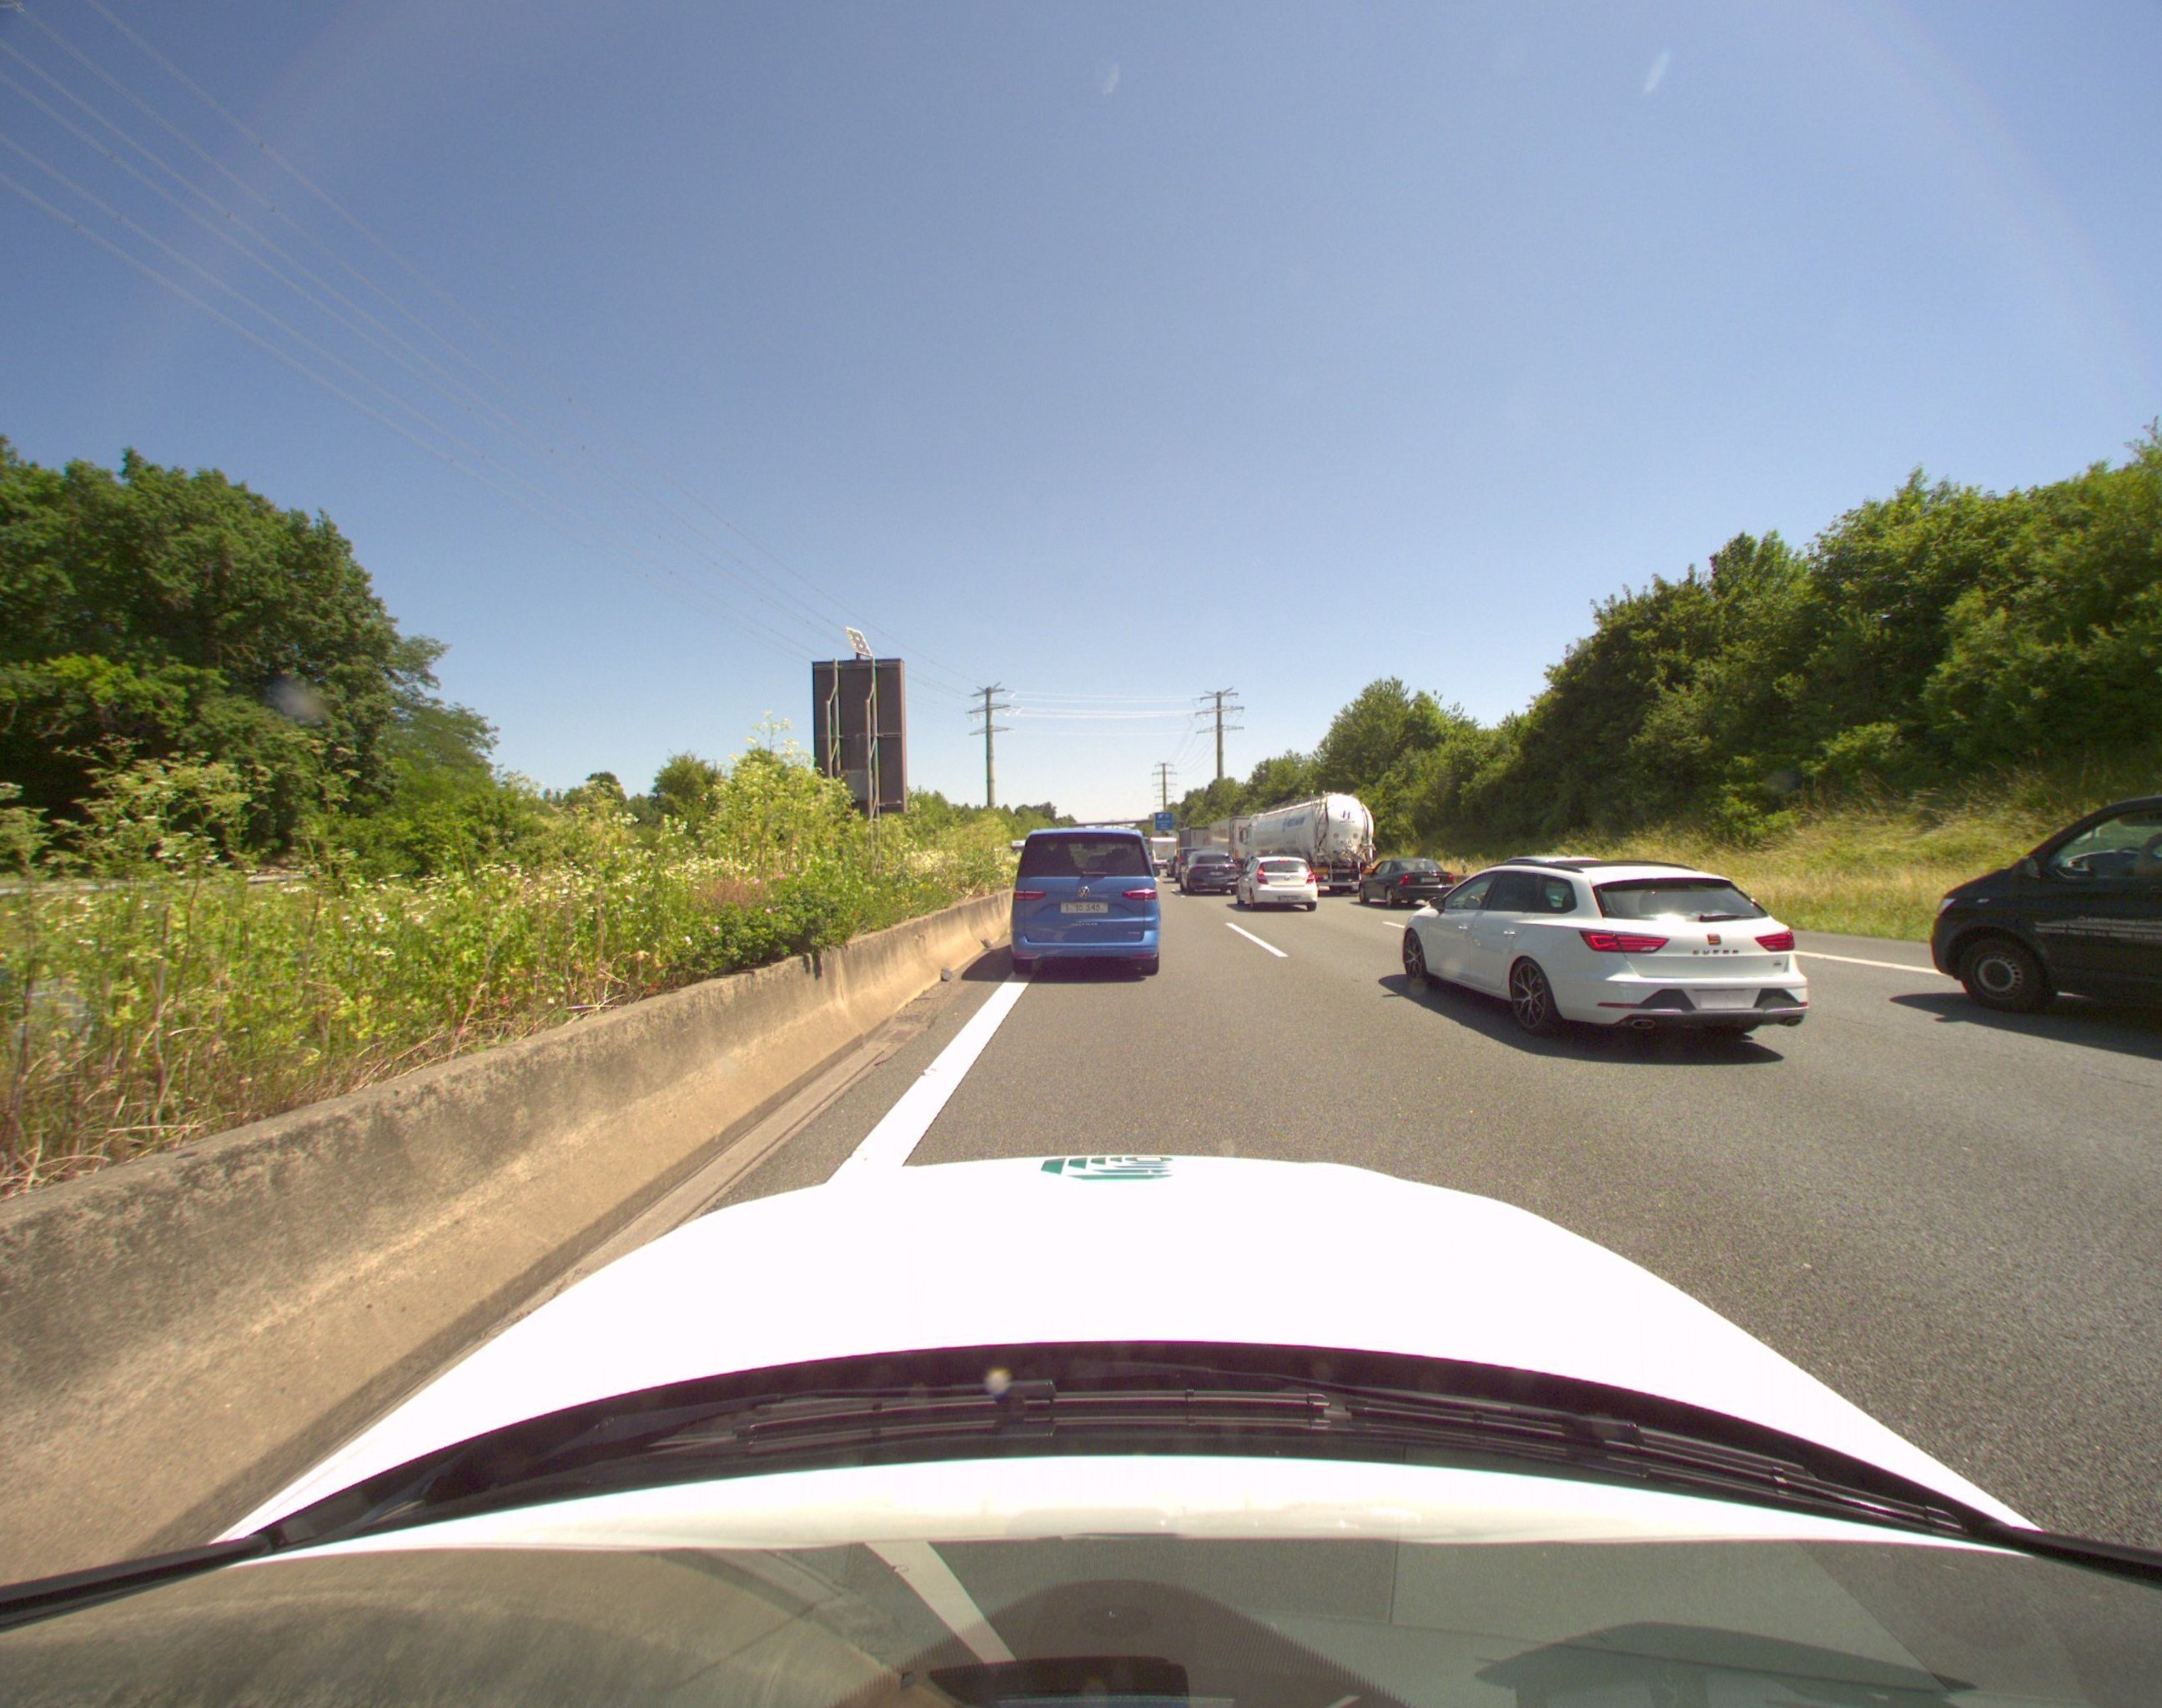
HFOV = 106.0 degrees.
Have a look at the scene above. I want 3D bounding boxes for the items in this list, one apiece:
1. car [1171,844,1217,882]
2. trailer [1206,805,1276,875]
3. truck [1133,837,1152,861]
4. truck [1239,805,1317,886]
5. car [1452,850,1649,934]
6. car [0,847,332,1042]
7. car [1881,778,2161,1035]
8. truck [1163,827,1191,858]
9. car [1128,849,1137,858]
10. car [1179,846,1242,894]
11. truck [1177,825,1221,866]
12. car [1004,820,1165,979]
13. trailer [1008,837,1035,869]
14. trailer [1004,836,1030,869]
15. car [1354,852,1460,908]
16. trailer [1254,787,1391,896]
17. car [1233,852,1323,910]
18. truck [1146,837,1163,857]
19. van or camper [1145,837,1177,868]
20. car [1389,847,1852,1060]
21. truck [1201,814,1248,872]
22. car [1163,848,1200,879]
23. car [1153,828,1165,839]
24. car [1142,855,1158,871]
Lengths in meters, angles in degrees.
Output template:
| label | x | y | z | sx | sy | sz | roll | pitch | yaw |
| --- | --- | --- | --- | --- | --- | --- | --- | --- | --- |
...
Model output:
| label | x | y | z | sx | sy | sz | roll | pitch | yaw |
| --- | --- | --- | --- | --- | --- | --- | --- | --- | --- |
| car | 6.249 | 0.531 | 45.445 | 1.917 | 1.925 | 4.235 | -2 | -1 | 1 |
| trailer | 11.339 | -0.877 | 59.050 | 2.901 | 4.469 | 12.158 | -2 | 0 | 2 |
| truck | 10.120 | -0.770 | 134.749 | 2.883 | 3.766 | 10.148 | -1 | -1 | 3 |
| truck | 10.096 | -0.383 | 42.264 | 2.782 | 3.836 | 5.574 | -2 | 0 | 2 |
| car | 9.180 | 0.661 | 16.354 | 1.724 | 1.443 | 4.030 | -2 | 0 | 2 |
| car | -10.498 | 0.820 | 8.276 | 1.986 | 1.717 | 4.001 | -1 | 0 | 2 |
| car | 9.081 | 0.368 | 5.900 | 1.906 | 1.940 | 4.859 | -2 | -1 | 3 |
| truck | 12.956 | -1.448 | 110.830 | 2.883 | 3.766 | 13.354 | -1 | -1 | 3 |
| car | 12.663 | -0.161 | 199.398 | 1.986 | 2.126 | 4.001 | -1 | -1 | 2 |
| car | 5.107 | 0.642 | 32.663 | 1.991 | 1.715 | 4.628 | -2 | -1 | 3 |
| truck | 12.054 | -0.704 | 84.688 | 2.993 | 3.766 | 15.724 | -1 | -1 | 3 |
| car | 0.121 | 0.543 | 11.674 | 1.912 | 1.886 | 4.002 | 0 | 0 | 2 |
| trailer | -9.805 | -0.081 | 136.173 | 3.309 | 5.047 | 9.597 | -1 | -1 | 3 |
| trailer | -10.128 | -0.154 | 129.137 | 3.309 | 5.047 | 6.707 | -1 | -1 | 2 |
| car | 9.396 | 0.730 | 23.798 | 1.634 | 1.416 | 3.991 | -2 | -1 | 3 |
| trailer | 9.887 | -0.422 | 35.000 | 2.751 | 3.845 | 11.490 | -2 | 0 | 2 |
| car | 5.552 | 0.749 | 23.447 | 1.809 | 1.485 | 4.003 | -2 | -1 | 3 |
| truck | 17.604 | -1.722 | 196.035 | 3.553 | 4.517 | 10.297 | -1 | -1 | 2 |
| van or camper | 8.020 | -0.105 | 82.151 | 2.944 | 3.022 | 7.109 | -1 | -1 | 4 |
| car | 4.567 | 0.732 | 7.842 | 1.740 | 1.443 | 4.316 | -2 | -1 | 3 |
| truck | 11.577 | -0.830 | 66.063 | 2.901 | 4.469 | 5.144 | -2 | 0 | 2 |
| car | 6.679 | 0.623 | 54.594 | 1.917 | 1.925 | 4.235 | -2 | -1 | 1 |
| car | 14.677 | -3.819 | 152.987 | 1.985 | 2.014 | 4.002 | -1 | -1 | 2 |
| car | 8.876 | 1.180 | 105.225 | 1.828 | 1.998 | 4.004 | -2 | -1 | 4 |
